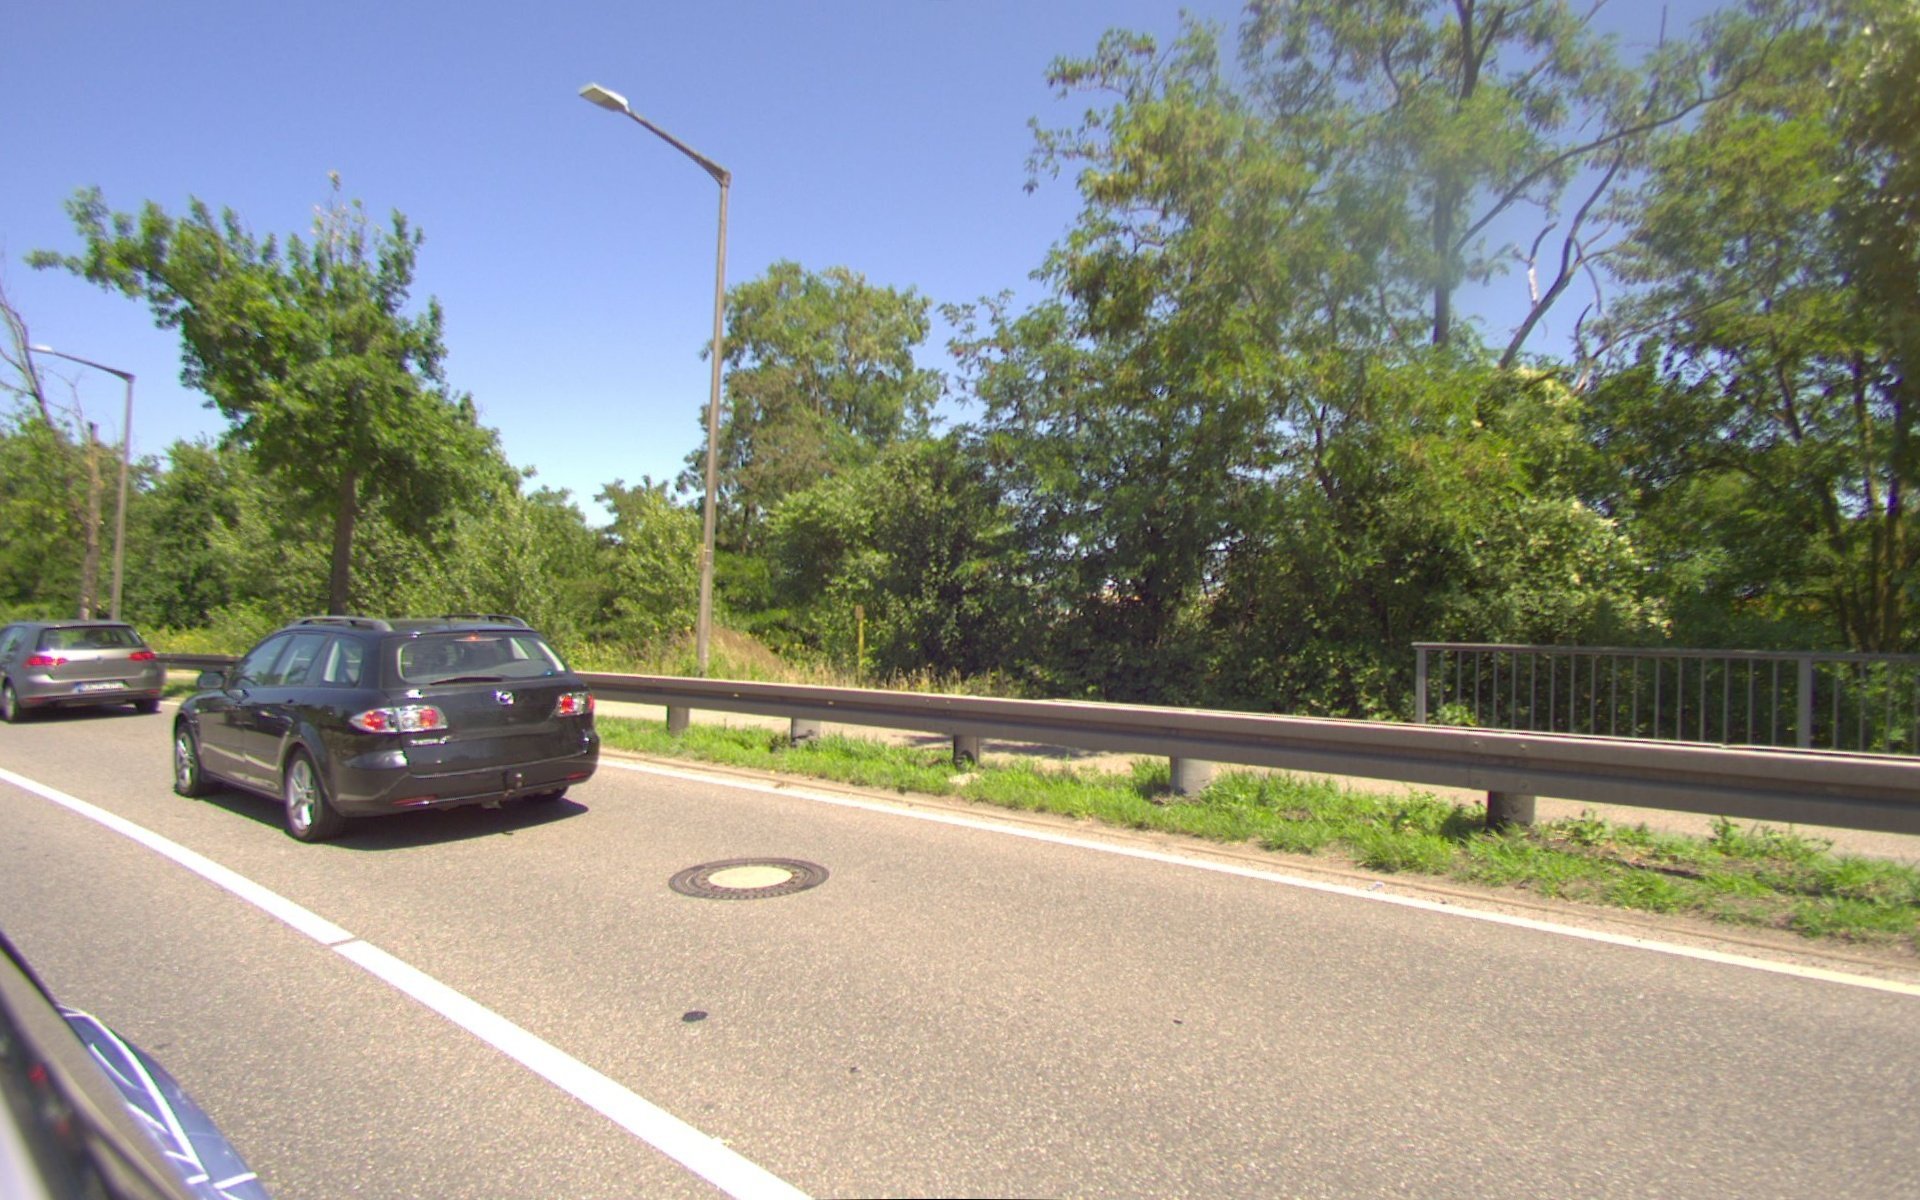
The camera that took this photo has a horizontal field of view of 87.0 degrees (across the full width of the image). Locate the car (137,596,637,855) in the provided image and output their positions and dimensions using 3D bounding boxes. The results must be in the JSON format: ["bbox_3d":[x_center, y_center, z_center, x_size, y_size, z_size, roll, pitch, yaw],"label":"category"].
[{"bbox_3d":[-4.591,0.731,7.796,4.561,1.453,1.740,-1,0,38],"label":"car"}]

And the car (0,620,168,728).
[{"bbox_3d":[-13.961,1.055,15.515,4.096,1.438,1.702,-1,-1,34],"label":"car"}]
